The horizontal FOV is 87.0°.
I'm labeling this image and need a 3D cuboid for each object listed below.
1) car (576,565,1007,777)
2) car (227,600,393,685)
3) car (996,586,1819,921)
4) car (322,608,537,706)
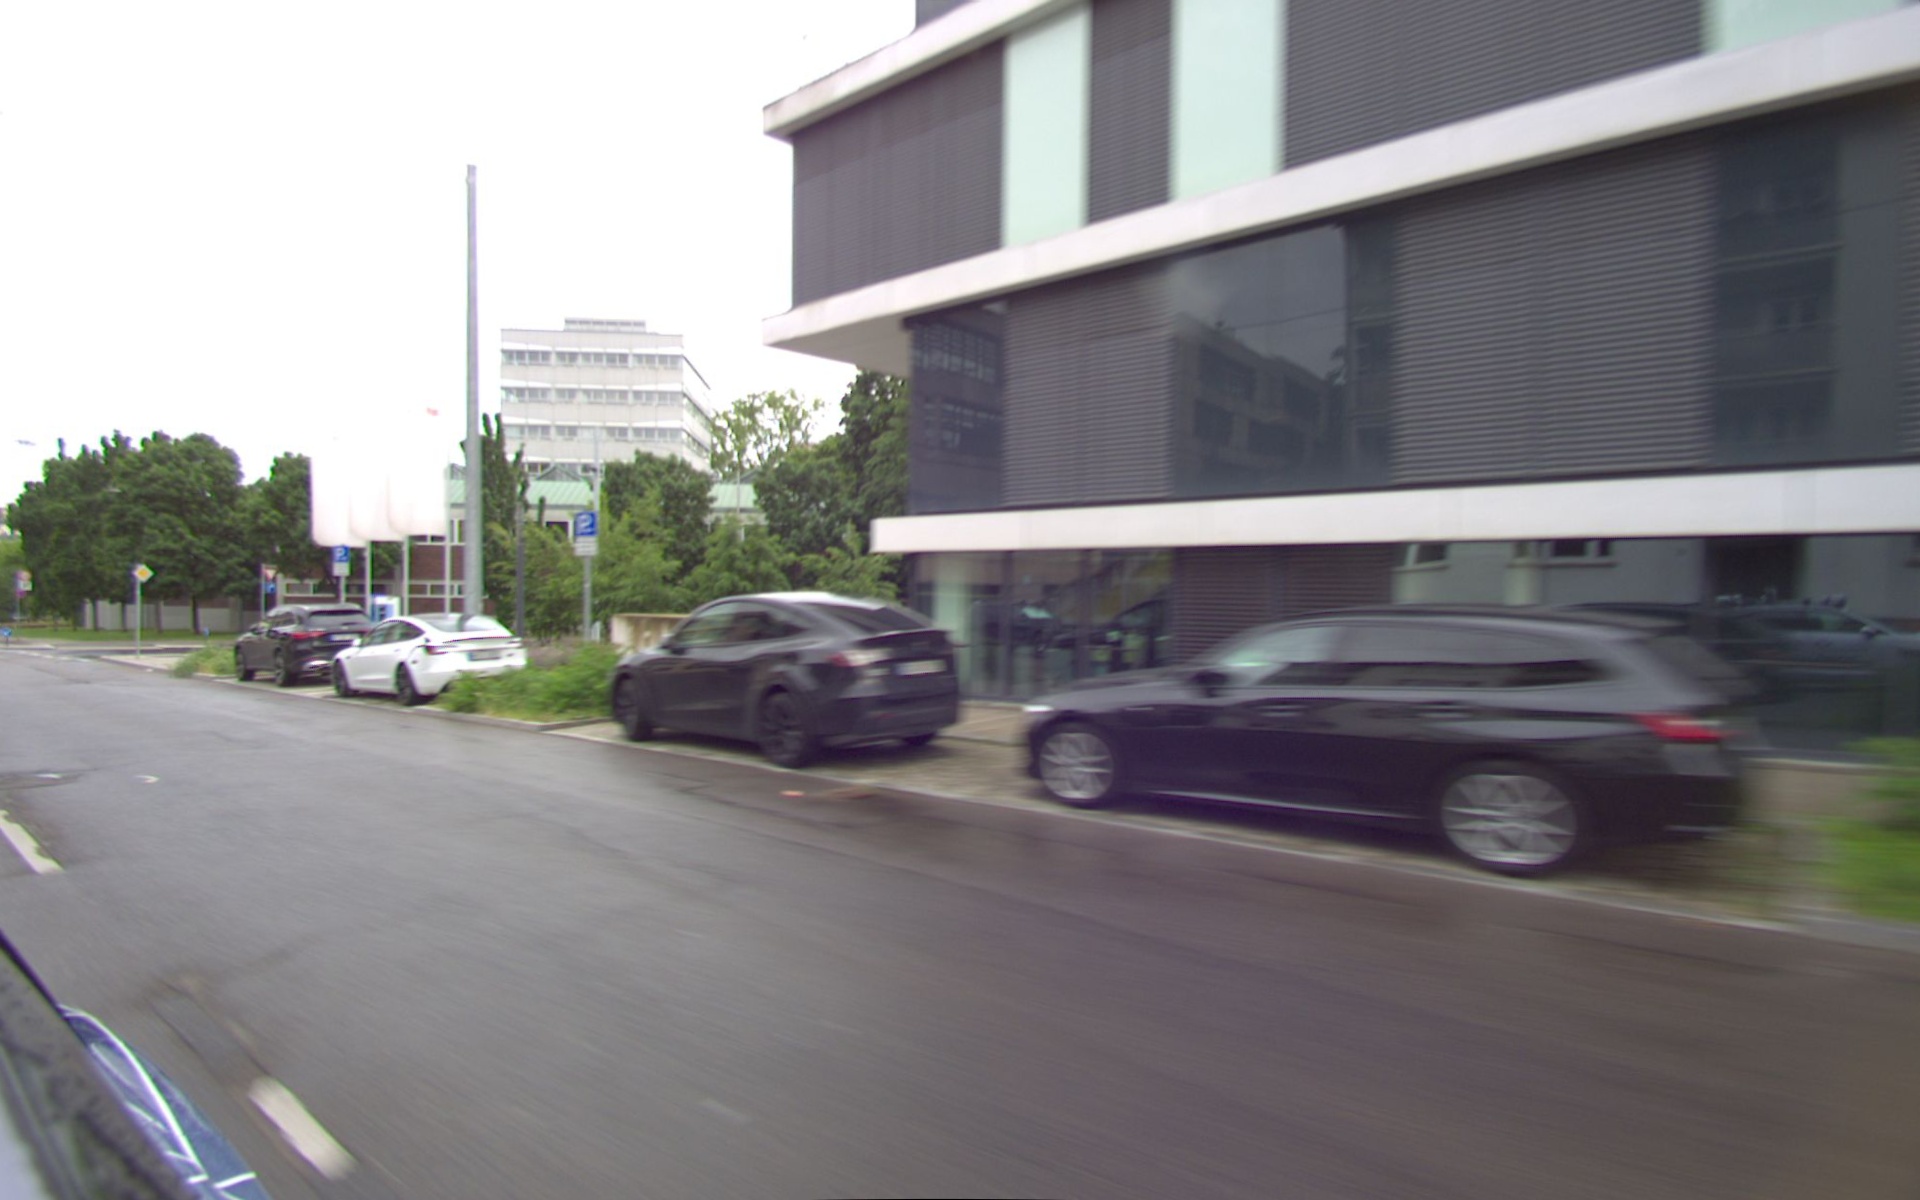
[{"bbox_3d":[-2.018,0.619,10.828,4.942,1.763,1.941,-2,0,43],"label":"car"},{"bbox_3d":[-14.118,0.872,21.875,4.489,1.630,1.830,-2,0,41],"label":"car"},{"bbox_3d":[2.662,0.702,6.815,4.738,1.484,1.852,-1,1,41],"label":"car"},{"bbox_3d":[-9.178,0.903,17.355,4.400,1.429,1.802,-2,0,41],"label":"car"}]
